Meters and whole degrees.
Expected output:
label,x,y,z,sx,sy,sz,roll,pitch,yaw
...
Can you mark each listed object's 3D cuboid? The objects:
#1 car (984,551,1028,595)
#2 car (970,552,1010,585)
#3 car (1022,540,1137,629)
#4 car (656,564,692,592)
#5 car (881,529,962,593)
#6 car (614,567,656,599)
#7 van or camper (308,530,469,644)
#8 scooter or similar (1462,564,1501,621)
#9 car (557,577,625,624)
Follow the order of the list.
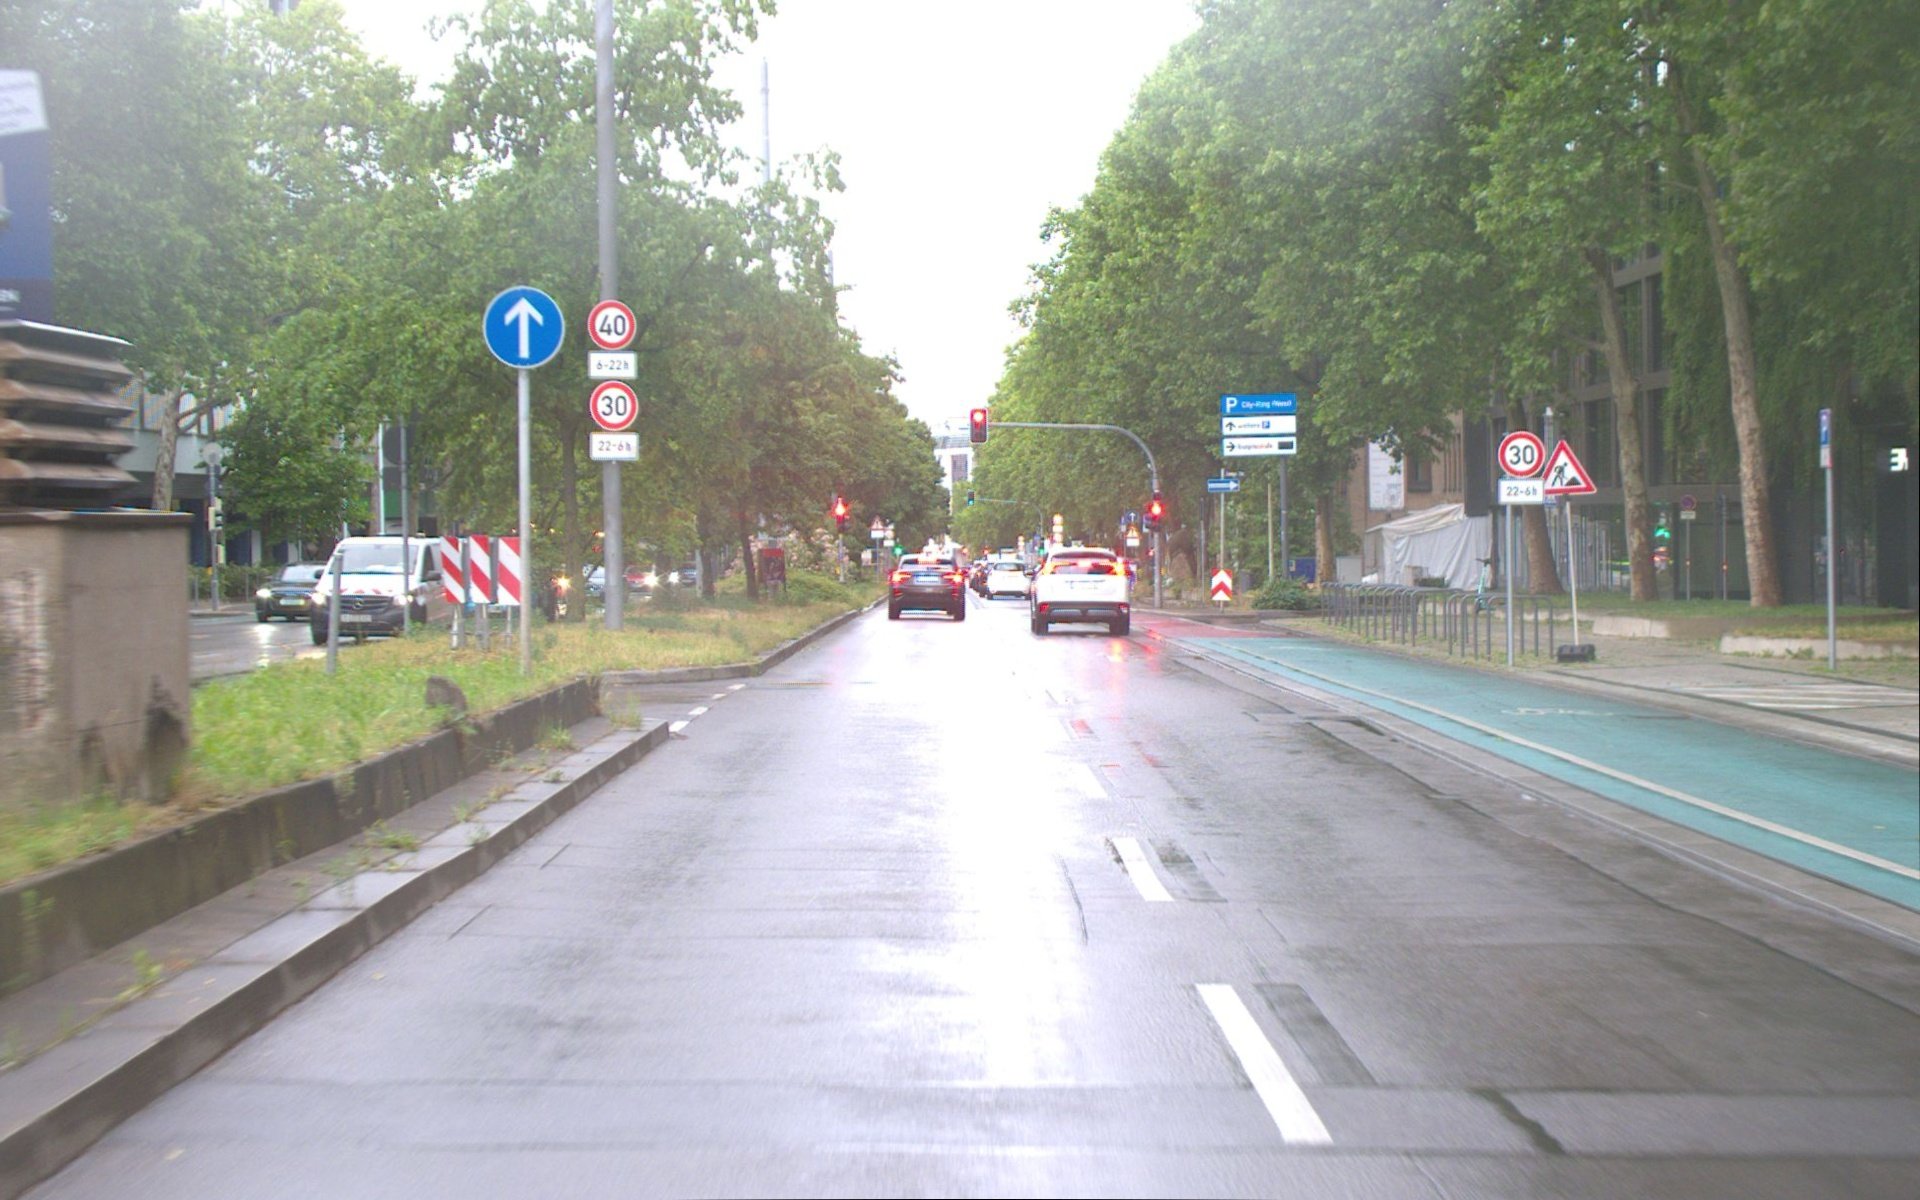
label,x,y,z,sx,sy,sz,roll,pitch,yaw
car,1.798,-1.059,134.488,1.620,1.660,4.000,-1,1,-1
car,1.253,-1.334,145.949,1.620,1.369,4.000,0,1,-1
car,2.279,-0.338,66.785,1.993,1.649,4.889,0,1,-1
car,-14.923,-1.168,179.326,1.614,1.389,3.598,0,1,-1
car,-0.929,-0.951,82.888,1.918,1.486,4.000,0,1,-1
car,-15.039,-0.794,159.096,1.614,1.389,4.184,0,1,-1
van or camper,-9.976,-0.274,60.382,1.993,1.907,5.252,0,1,-1
scooter or similar,11.268,-0.166,74.248,0.381,1.224,1.077,1,1,36
car,-11.865,-0.002,110.673,1.843,1.424,3.643,0,1,-1
